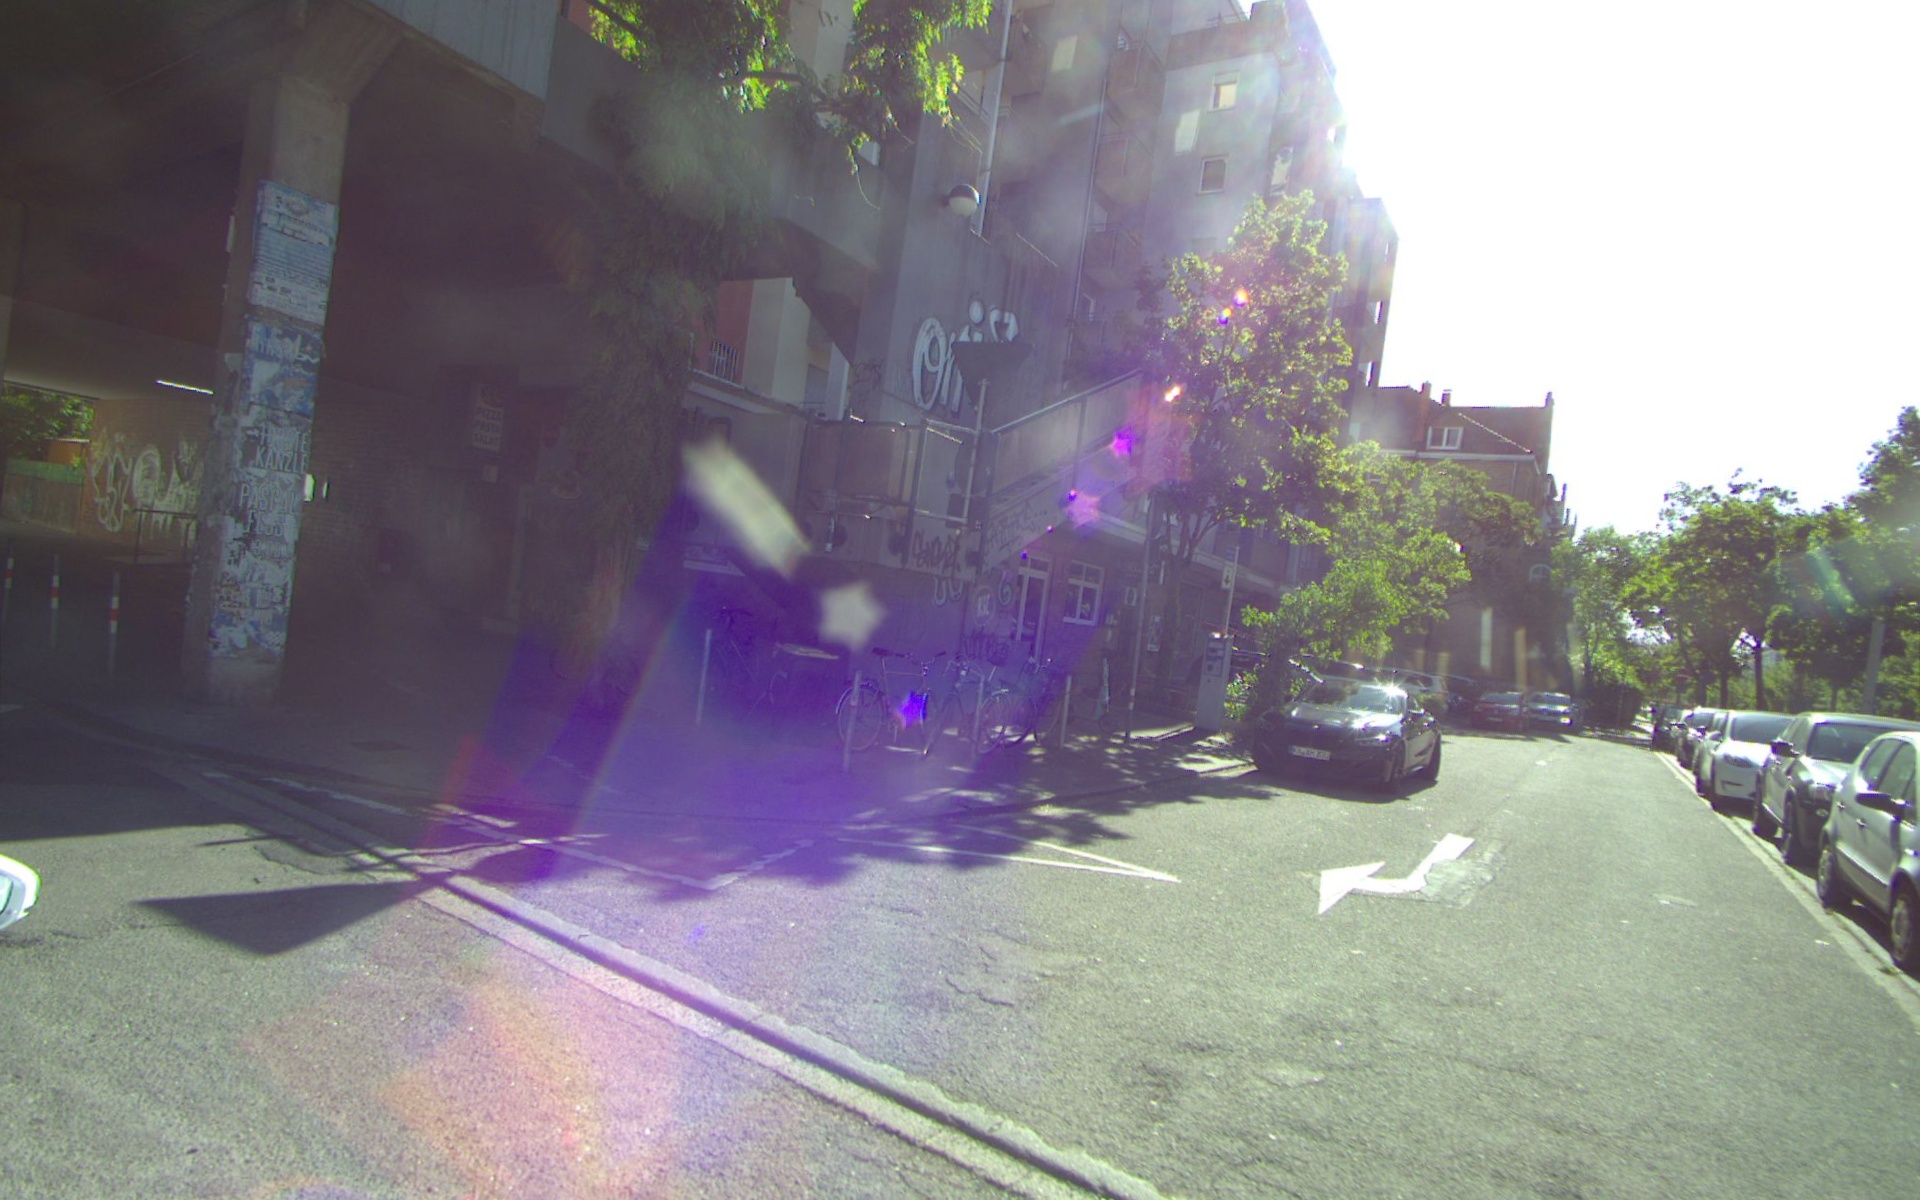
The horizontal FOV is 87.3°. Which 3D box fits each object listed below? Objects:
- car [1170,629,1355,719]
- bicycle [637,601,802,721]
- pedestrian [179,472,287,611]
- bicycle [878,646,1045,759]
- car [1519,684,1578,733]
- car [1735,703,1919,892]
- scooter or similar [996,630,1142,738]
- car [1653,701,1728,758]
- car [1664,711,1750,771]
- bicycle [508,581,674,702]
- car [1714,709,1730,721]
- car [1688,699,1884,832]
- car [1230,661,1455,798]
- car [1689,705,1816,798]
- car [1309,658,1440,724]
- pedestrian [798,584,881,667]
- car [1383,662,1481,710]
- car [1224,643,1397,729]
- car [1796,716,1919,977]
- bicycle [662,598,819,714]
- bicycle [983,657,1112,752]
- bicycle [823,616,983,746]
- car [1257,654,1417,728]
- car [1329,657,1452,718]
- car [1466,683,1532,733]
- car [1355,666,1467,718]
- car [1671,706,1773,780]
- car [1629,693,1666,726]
[{"bbox_3d":[7.418,1.794,24.740,3.932,1.570,1.767,8,0,30],"label":"car"},{"bbox_3d":[-2.591,0.636,10.843,1.587,1.014,0.415,9,3,10],"label":"bicycle"},{"bbox_3d":[-9.895,-0.786,13.703,0.745,1.720,0.795,11,2,32],"label":"pedestrian"},{"bbox_3d":[0.049,1.111,10.664,1.789,1.044,0.410,8,3,-41],"label":"bicycle"},{"bbox_3d":[24.158,4.425,41.237,1.739,1.666,3.991,8,0,33],"label":"car"},{"bbox_3d":[10.397,2.146,11.586,1.844,1.647,4.494,7,-1,34],"label":"car"},{"bbox_3d":[1.610,1.223,15.022,1.939,1.293,0.630,8,1,29],"label":"scooter or similar"},{"bbox_3d":[25.958,4.557,35.873,1.739,1.666,3.991,8,0,33],"label":"car"},{"bbox_3d":[23.383,4.365,31.612,1.731,1.415,3.991,8,0,33],"label":"car"},{"bbox_3d":[-3.959,0.425,10.761,1.770,1.014,0.484,8,2,25],"label":"bicycle"},{"bbox_3d":[128.403,19.343,169.471,1.735,1.805,3.990,8,0,34],"label":"car"},{"bbox_3d":[13.697,2.637,16.975,1.864,1.682,4.521,5,-2,32],"label":"car"},{"bbox_3d":[5.635,1.778,14.436,1.867,1.415,4.517,7,-1,35],"label":"car"},{"bbox_3d":[17.501,3.267,22.400,1.840,1.606,3.989,6,-1,35],"label":"car"},{"bbox_3d":[14.629,3.177,35.512,3.932,1.649,1.685,8,0,30],"label":"car"},{"bbox_3d":[-2.033,0.439,16.980,0.973,1.251,0.794,8,1,30],"label":"pedestrian"},{"bbox_3d":[22.530,4.091,48.045,3.932,1.649,1.685,8,0,30],"label":"car"},{"bbox_3d":[9.275,2.239,26.673,3.932,1.627,1.839,8,0,30],"label":"car"},{"bbox_3d":[7.563,1.767,7.218,1.696,1.537,3.526,7,-1,30],"label":"car"},{"bbox_3d":[-2.522,0.621,11.495,1.770,1.014,0.415,10,3,26],"label":"bicycle"},{"bbox_3d":[1.096,1.277,12.181,0.409,1.014,1.793,12,3,42],"label":"bicycle"},{"bbox_3d":[-0.600,0.900,10.954,1.618,1.252,0.456,7,0,-35],"label":"bicycle"},{"bbox_3d":[10.755,2.567,28.757,3.932,1.442,1.685,8,0,30],"label":"car"},{"bbox_3d":[16.084,3.248,37.633,3.932,1.649,1.685,8,0,30],"label":"car"},{"bbox_3d":[19.933,3.964,37.125,1.664,1.487,3.991,8,0,33],"label":"car"},{"bbox_3d":[18.679,3.783,41.707,3.932,1.487,1.606,8,0,30],"label":"car"},{"bbox_3d":[20.585,3.806,27.320,1.728,1.572,3.991,7,-1,33],"label":"car"},{"bbox_3d":[50.566,8.028,73.961,1.969,2.038,4.193,7,0,35],"label":"car"}]
